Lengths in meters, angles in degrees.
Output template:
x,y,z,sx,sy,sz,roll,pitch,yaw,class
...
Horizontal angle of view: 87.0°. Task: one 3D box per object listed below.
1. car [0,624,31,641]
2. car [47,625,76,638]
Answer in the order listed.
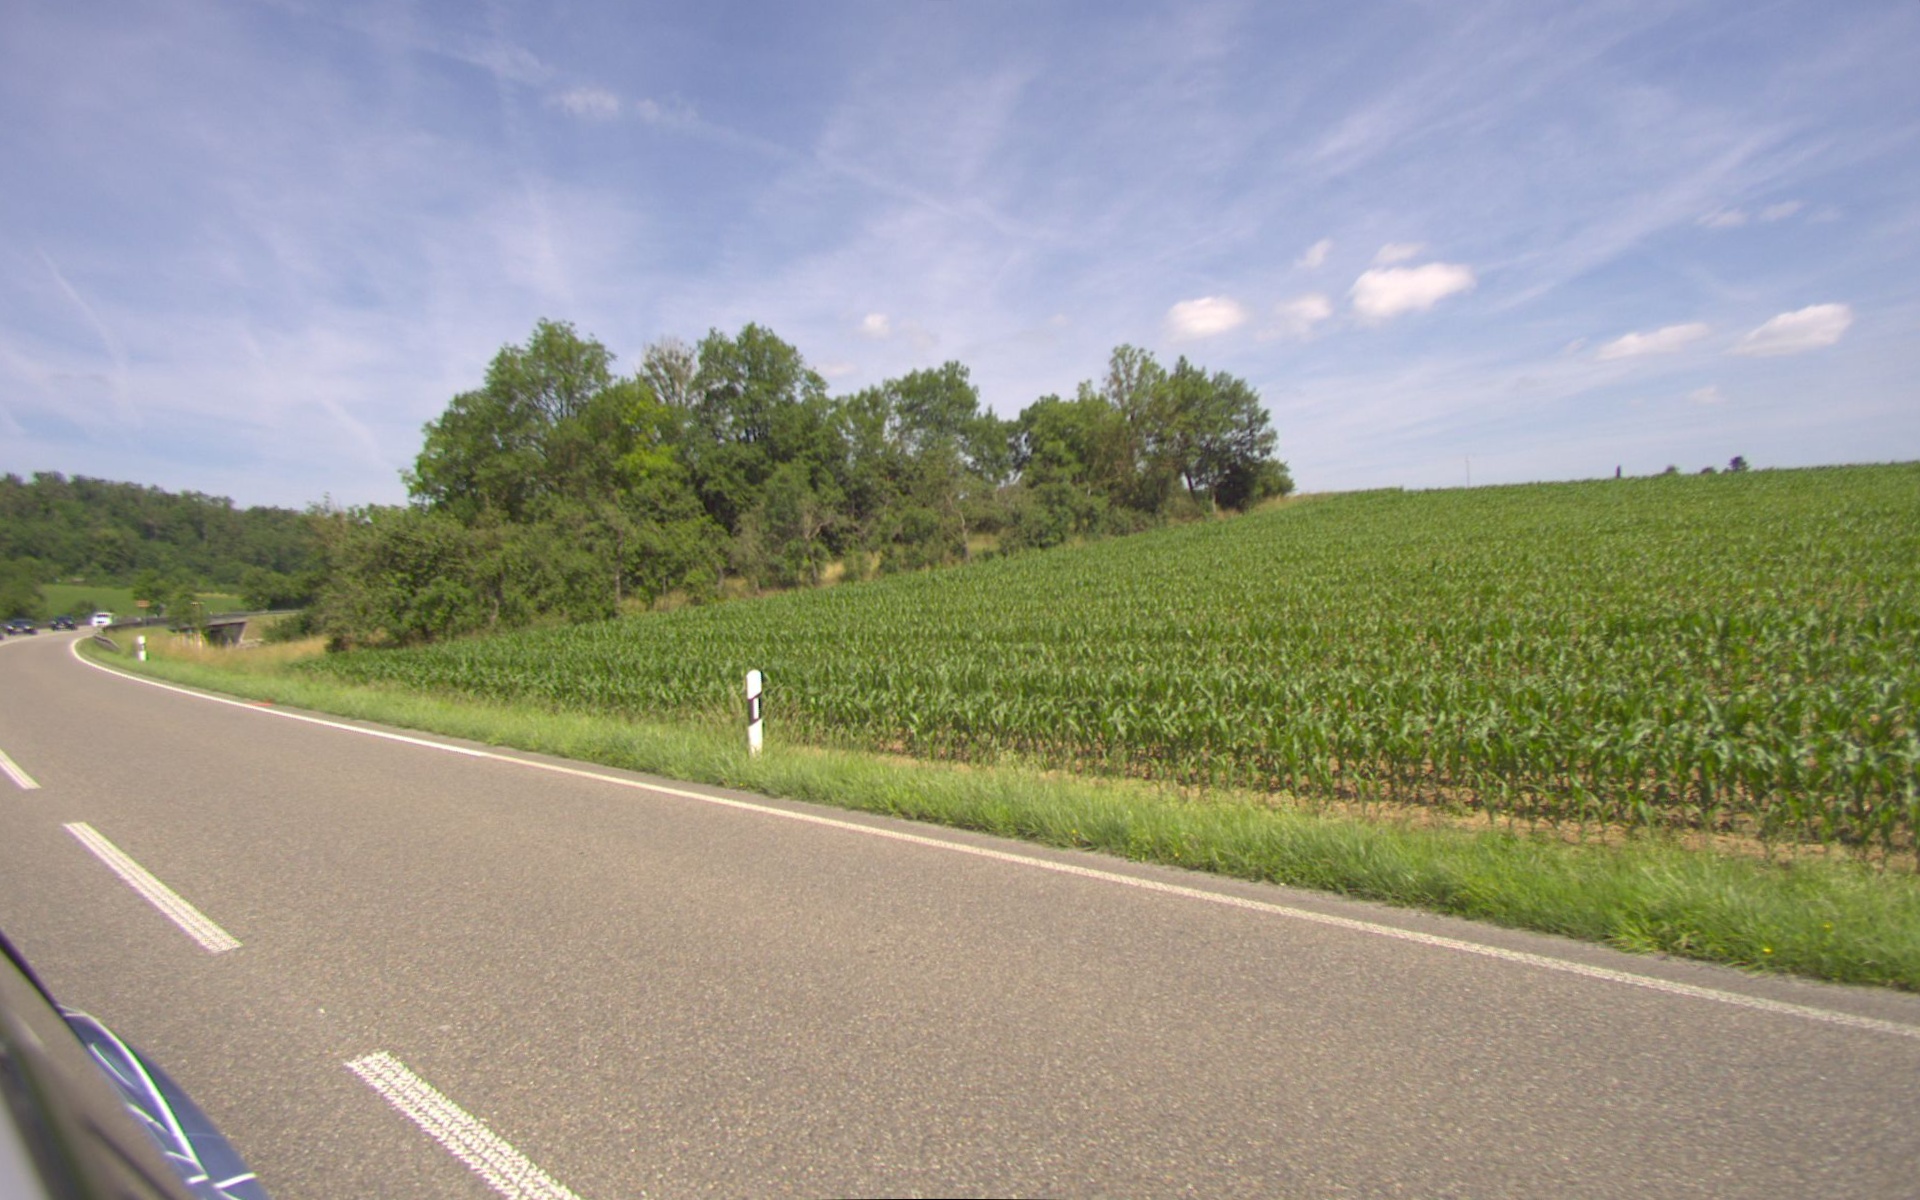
x,y,z,sx,sy,sz,roll,pitch,yaw,class
-85.086,2.900,91.171,1.716,1.465,4.044,0,0,-37,car
-103.418,3.615,116.560,1.714,1.465,4.048,0,0,-30,car
